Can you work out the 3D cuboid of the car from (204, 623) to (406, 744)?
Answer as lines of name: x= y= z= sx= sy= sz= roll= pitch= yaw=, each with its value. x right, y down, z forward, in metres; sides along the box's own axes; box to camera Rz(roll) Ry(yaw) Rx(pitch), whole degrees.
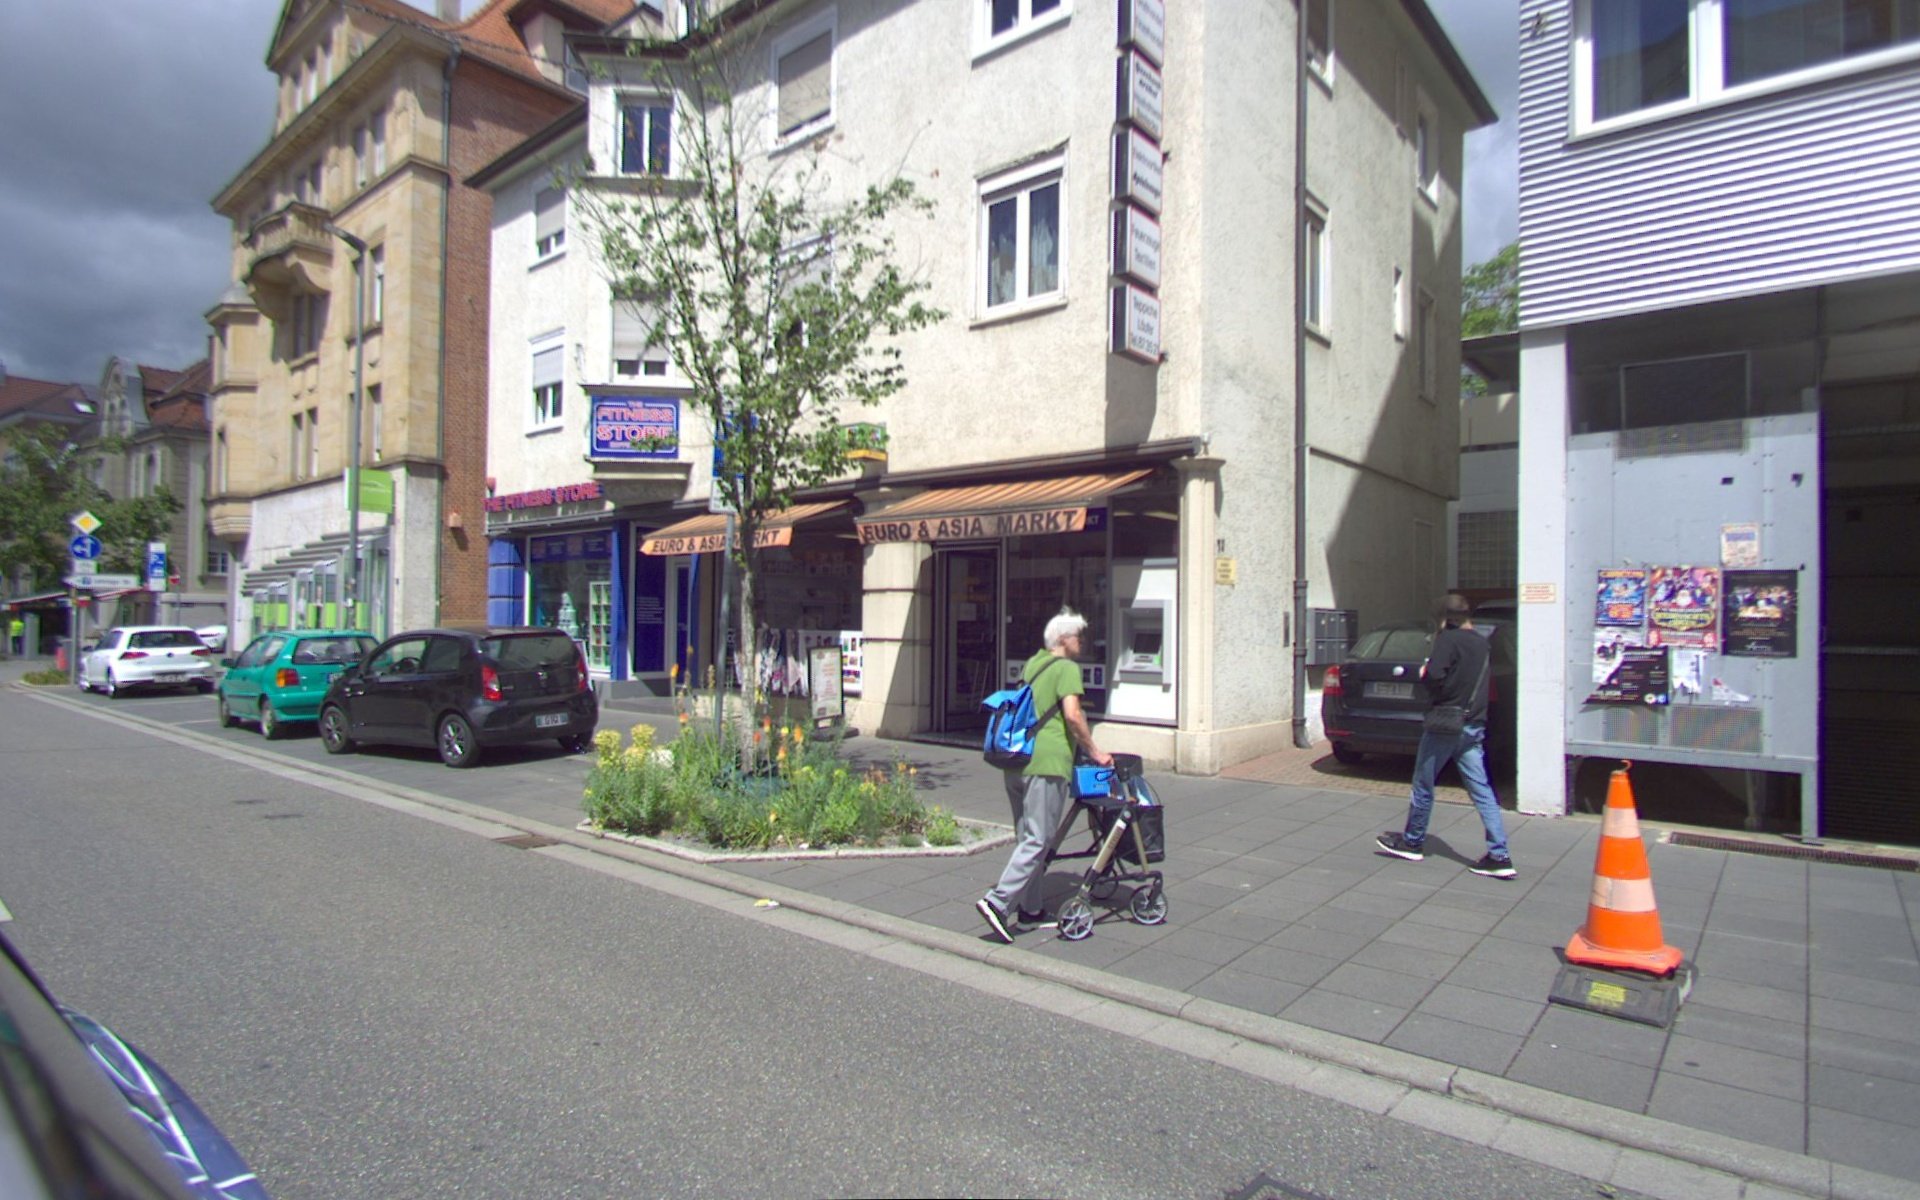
car: x=-9.475 y=1.088 z=14.535 sx=3.668 sy=1.425 sz=1.569 roll=0 pitch=0 yaw=43

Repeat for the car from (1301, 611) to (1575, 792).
car: x=5.007 y=0.857 z=10.342 sx=1.655 sy=1.420 sz=3.782 roll=0 pitch=0 yaw=40

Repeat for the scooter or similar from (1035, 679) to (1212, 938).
scooter or similar: x=0.862 y=1.018 z=5.258 sx=0.629 sy=1.134 sz=0.774 roll=0 pitch=0 yaw=36

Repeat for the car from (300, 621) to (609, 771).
car: x=-5.902 y=0.994 z=11.731 sx=3.545 sy=1.457 sz=1.585 roll=-1 pitch=0 yaw=32

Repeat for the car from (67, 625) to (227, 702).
car: x=-17.605 y=1.290 z=21.865 sx=4.031 sy=1.408 sz=1.828 roll=0 pitch=0 yaw=38

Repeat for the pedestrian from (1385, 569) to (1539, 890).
pedestrian: x=2.990 y=0.712 z=6.023 sx=0.728 sy=1.770 sz=0.543 roll=0 pitch=0 yaw=37

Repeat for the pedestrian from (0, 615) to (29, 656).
pedestrian: x=-42.147 y=1.575 z=45.092 sx=0.810 sy=1.770 sz=0.792 roll=0 pitch=0 yaw=32

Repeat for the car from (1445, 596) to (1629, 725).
car: x=8.331 y=0.737 z=14.465 sx=1.655 sy=1.575 sz=3.782 roll=0 pitch=0 yaw=40

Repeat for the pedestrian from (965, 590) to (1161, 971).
pedestrian: x=0.501 y=0.771 z=4.818 sx=0.650 sy=1.630 sz=0.725 roll=0 pitch=0 yaw=36

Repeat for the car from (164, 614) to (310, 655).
car: x=-28.524 y=1.323 z=40.094 sx=1.985 sy=1.391 sz=4.359 roll=0 pitch=1 yaw=20
